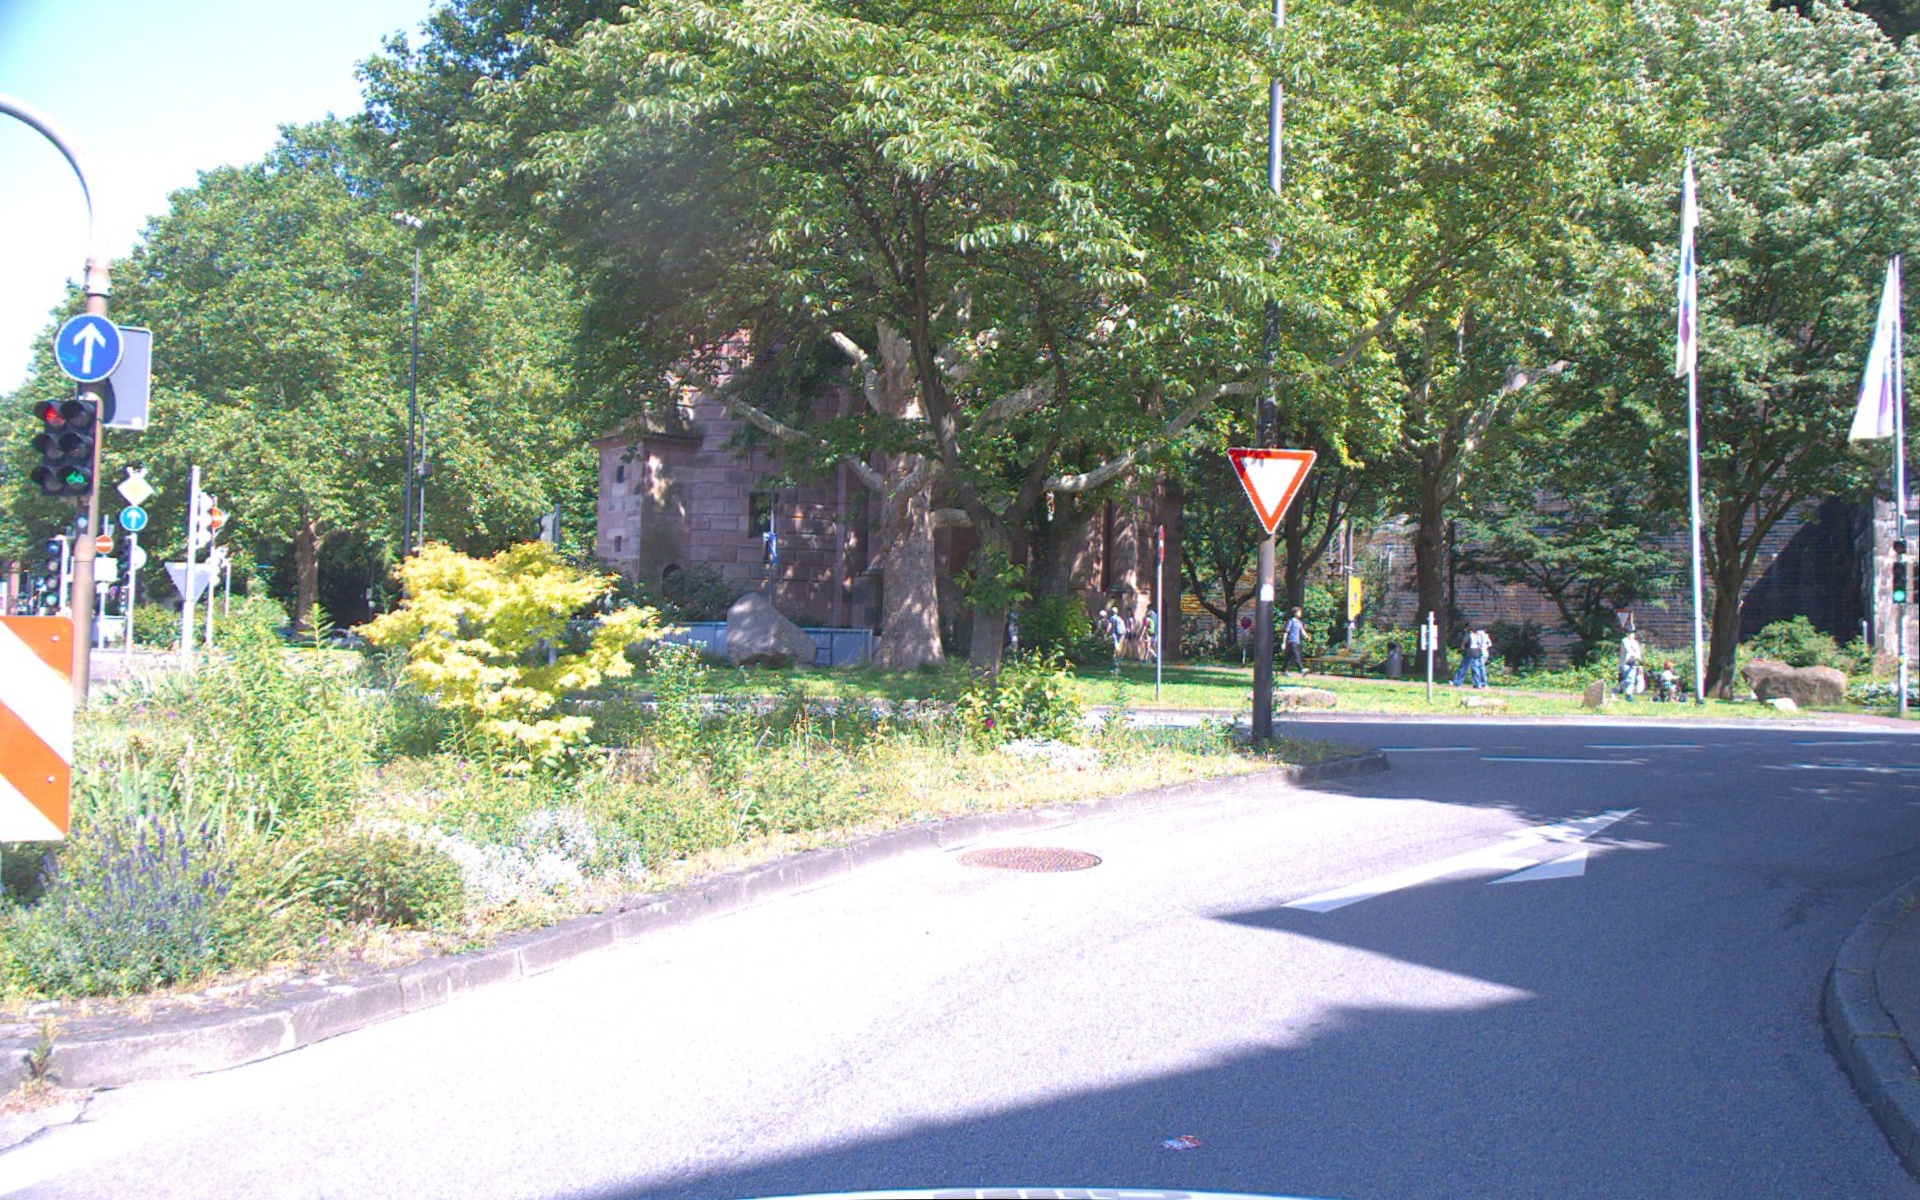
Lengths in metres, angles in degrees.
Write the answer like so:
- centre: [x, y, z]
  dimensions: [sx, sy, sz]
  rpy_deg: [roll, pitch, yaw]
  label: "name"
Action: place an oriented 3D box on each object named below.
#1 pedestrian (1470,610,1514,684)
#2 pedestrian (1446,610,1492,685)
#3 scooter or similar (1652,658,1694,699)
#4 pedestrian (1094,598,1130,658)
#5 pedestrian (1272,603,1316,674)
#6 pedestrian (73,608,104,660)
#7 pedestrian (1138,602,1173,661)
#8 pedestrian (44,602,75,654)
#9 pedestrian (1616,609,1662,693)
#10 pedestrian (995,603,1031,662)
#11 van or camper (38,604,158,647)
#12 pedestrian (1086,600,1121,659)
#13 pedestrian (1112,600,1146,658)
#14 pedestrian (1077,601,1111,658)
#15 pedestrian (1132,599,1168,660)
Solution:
- centre: [13.254, 1.170, 41.204]
  dimensions: [0.784, 1.787, 0.659]
  rpy_deg: [4, -2, -30]
  label: "pedestrian"
- centre: [12.557, 1.162, 40.795]
  dimensions: [0.784, 1.786, 0.659]
  rpy_deg: [4, -1, -30]
  label: "pedestrian"
- centre: [15.149, 1.656, 35.135]
  dimensions: [0.719, 0.826, 0.567]
  rpy_deg: [0, -1, 37]
  label: "scooter or similar"
- centre: [4.587, 0.843, 49.971]
  dimensions: [0.784, 1.787, 0.659]
  rpy_deg: [4, -2, -30]
  label: "pedestrian"
- centre: [8.663, 0.990, 42.888]
  dimensions: [0.784, 1.787, 0.715]
  rpy_deg: [4, -2, -30]
  label: "pedestrian"
- centre: [-29.773, 1.160, 56.522]
  dimensions: [0.749, 1.738, 0.874]
  rpy_deg: [1, 0, -17]
  label: "pedestrian"
- centre: [6.029, 0.970, 51.018]
  dimensions: [0.784, 1.787, 0.659]
  rpy_deg: [4, -2, -30]
  label: "pedestrian"
- centre: [-30.544, 0.958, 56.119]
  dimensions: [0.749, 1.749, 0.791]
  rpy_deg: [1, 0, -17]
  label: "pedestrian"
- centre: [14.608, 1.084, 35.601]
  dimensions: [0.747, 1.786, 0.761]
  rpy_deg: [0, -1, 37]
  label: "pedestrian"
- centre: [1.632, 1.009, 51.428]
  dimensions: [0.784, 1.813, 0.867]
  rpy_deg: [1, 0, -29]
  label: "pedestrian"
- centre: [-39.696, 1.151, 76.236]
  dimensions: [4.455, 1.935, 1.997]
  rpy_deg: [0, 0, -6]
  label: "van or camper"
- centre: [4.458, 0.916, 51.247]
  dimensions: [0.784, 1.787, 0.659]
  rpy_deg: [4, -2, -30]
  label: "pedestrian"
- centre: [5.281, 0.908, 51.715]
  dimensions: [0.784, 1.787, 0.659]
  rpy_deg: [4, -2, -30]
  label: "pedestrian"
- centre: [4.316, 0.947, 53.368]
  dimensions: [0.784, 1.787, 0.659]
  rpy_deg: [4, -2, -30]
  label: "pedestrian"
- centre: [5.749, 0.882, 50.031]
  dimensions: [0.784, 1.787, 0.659]
  rpy_deg: [4, -2, -30]
  label: "pedestrian"
